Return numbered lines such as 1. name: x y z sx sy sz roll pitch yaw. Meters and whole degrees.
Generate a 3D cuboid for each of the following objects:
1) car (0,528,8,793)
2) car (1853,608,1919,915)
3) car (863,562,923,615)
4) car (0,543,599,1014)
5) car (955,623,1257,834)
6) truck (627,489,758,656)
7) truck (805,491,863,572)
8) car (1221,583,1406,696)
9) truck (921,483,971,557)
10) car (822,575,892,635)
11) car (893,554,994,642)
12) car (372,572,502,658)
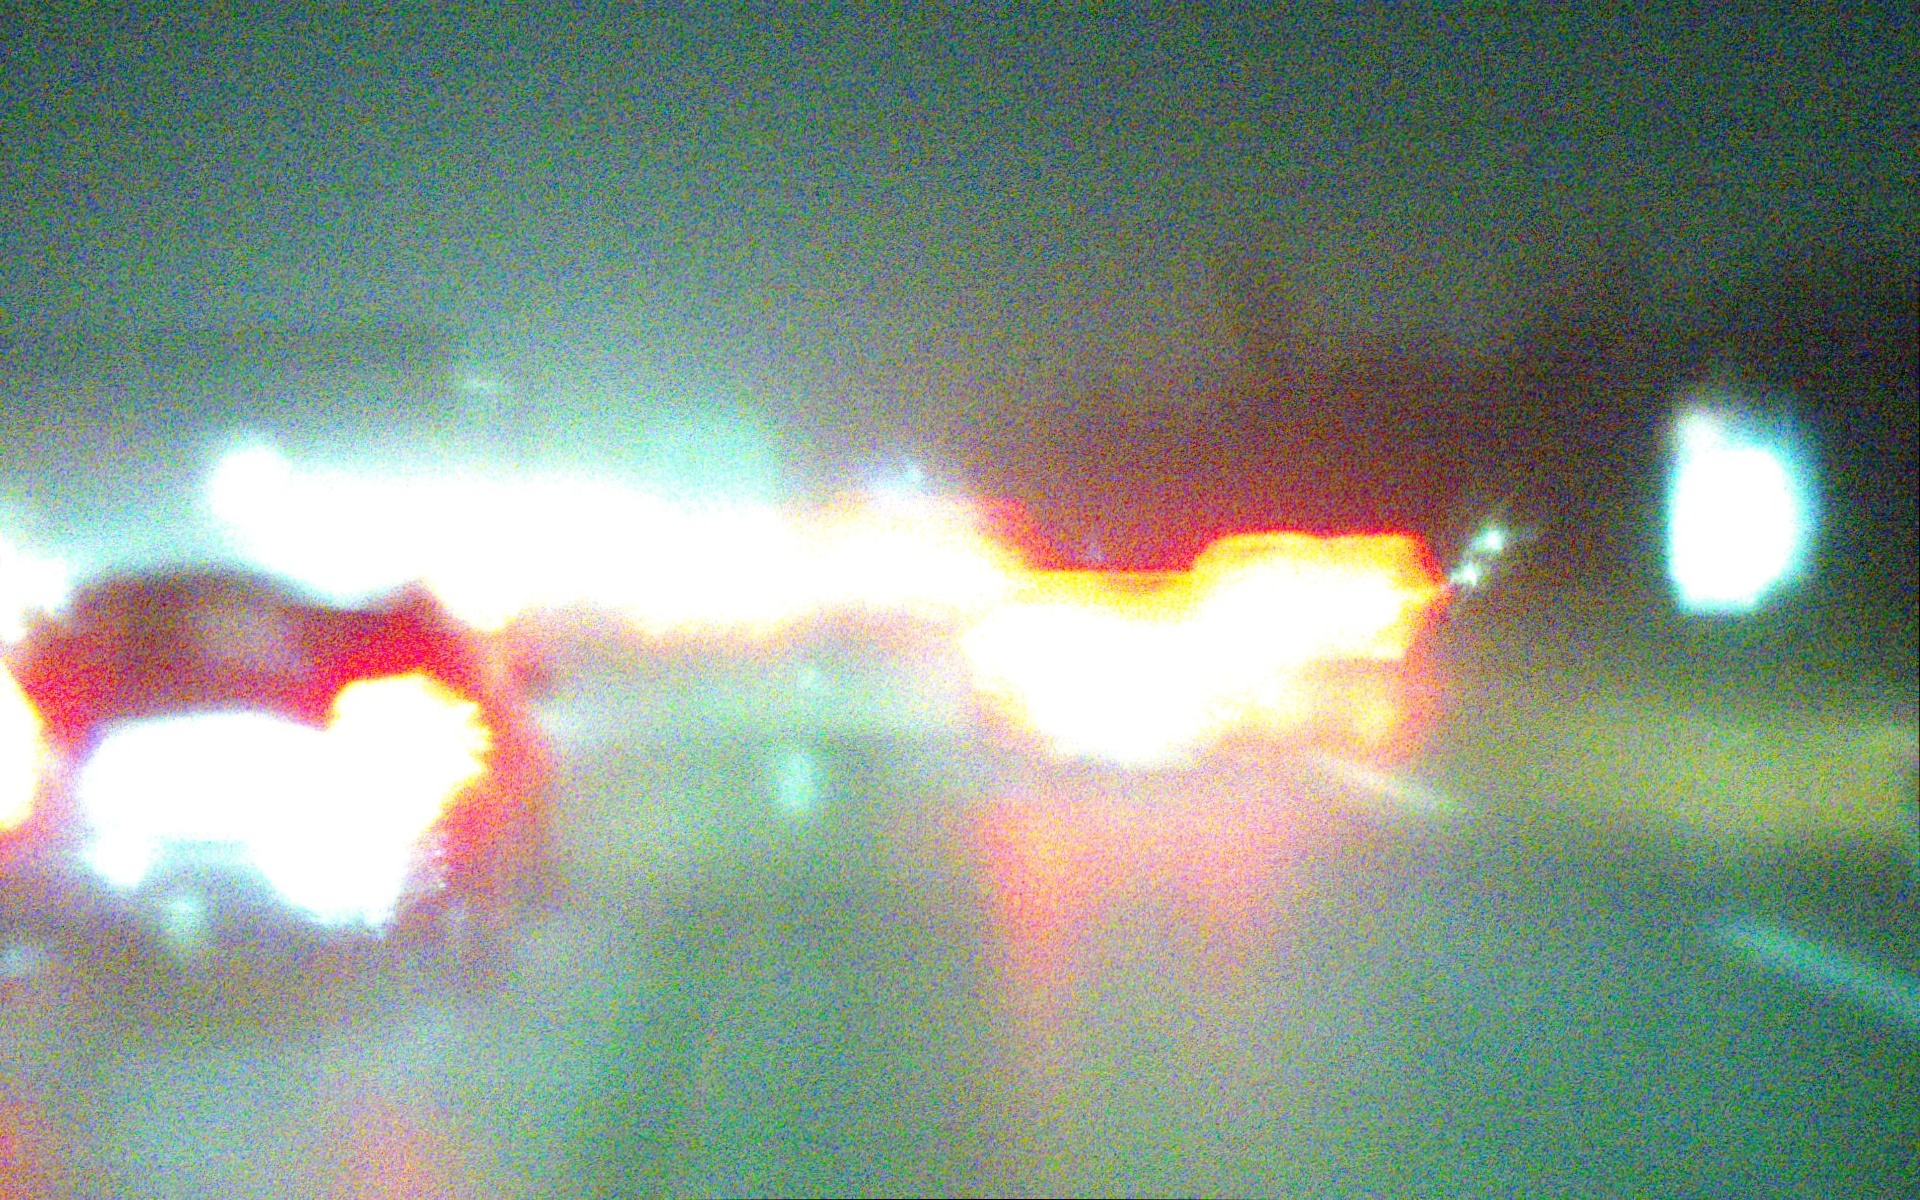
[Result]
1. car: -6.426 0.428 17.731 1.858 1.535 4.751 0 2 -2
2. car: 4.802 0.689 13.377 1.580 1.242 3.069 0 1 -6
3. car: -2.141 -0.384 110.158 1.863 1.612 4.000 1 1 -1
4. car: -2.404 0.537 12.914 1.801 1.482 4.000 1 1 -2
5. car: 0.912 0.817 23.030 1.580 1.242 3.069 0 1 -6
6. truck: -5.204 -0.554 67.636 1.993 3.032 6.465 -3 1 -1
7. truck: -4.961 -2.690 135.916 1.993 3.032 6.465 -3 1 -1
8. car: 4.157 0.443 40.797 1.580 1.242 3.069 0 1 -6
9. truck: -0.627 -3.398 147.864 1.993 3.032 6.465 -3 1 -1
10. car: -2.869 0.121 96.227 1.863 1.612 4.000 1 1 -1
11. car: -0.336 -0.061 66.128 1.863 1.612 4.000 1 1 -1
12. car: -8.242 0.212 54.436 1.662 1.232 3.762 -3 1 -4
